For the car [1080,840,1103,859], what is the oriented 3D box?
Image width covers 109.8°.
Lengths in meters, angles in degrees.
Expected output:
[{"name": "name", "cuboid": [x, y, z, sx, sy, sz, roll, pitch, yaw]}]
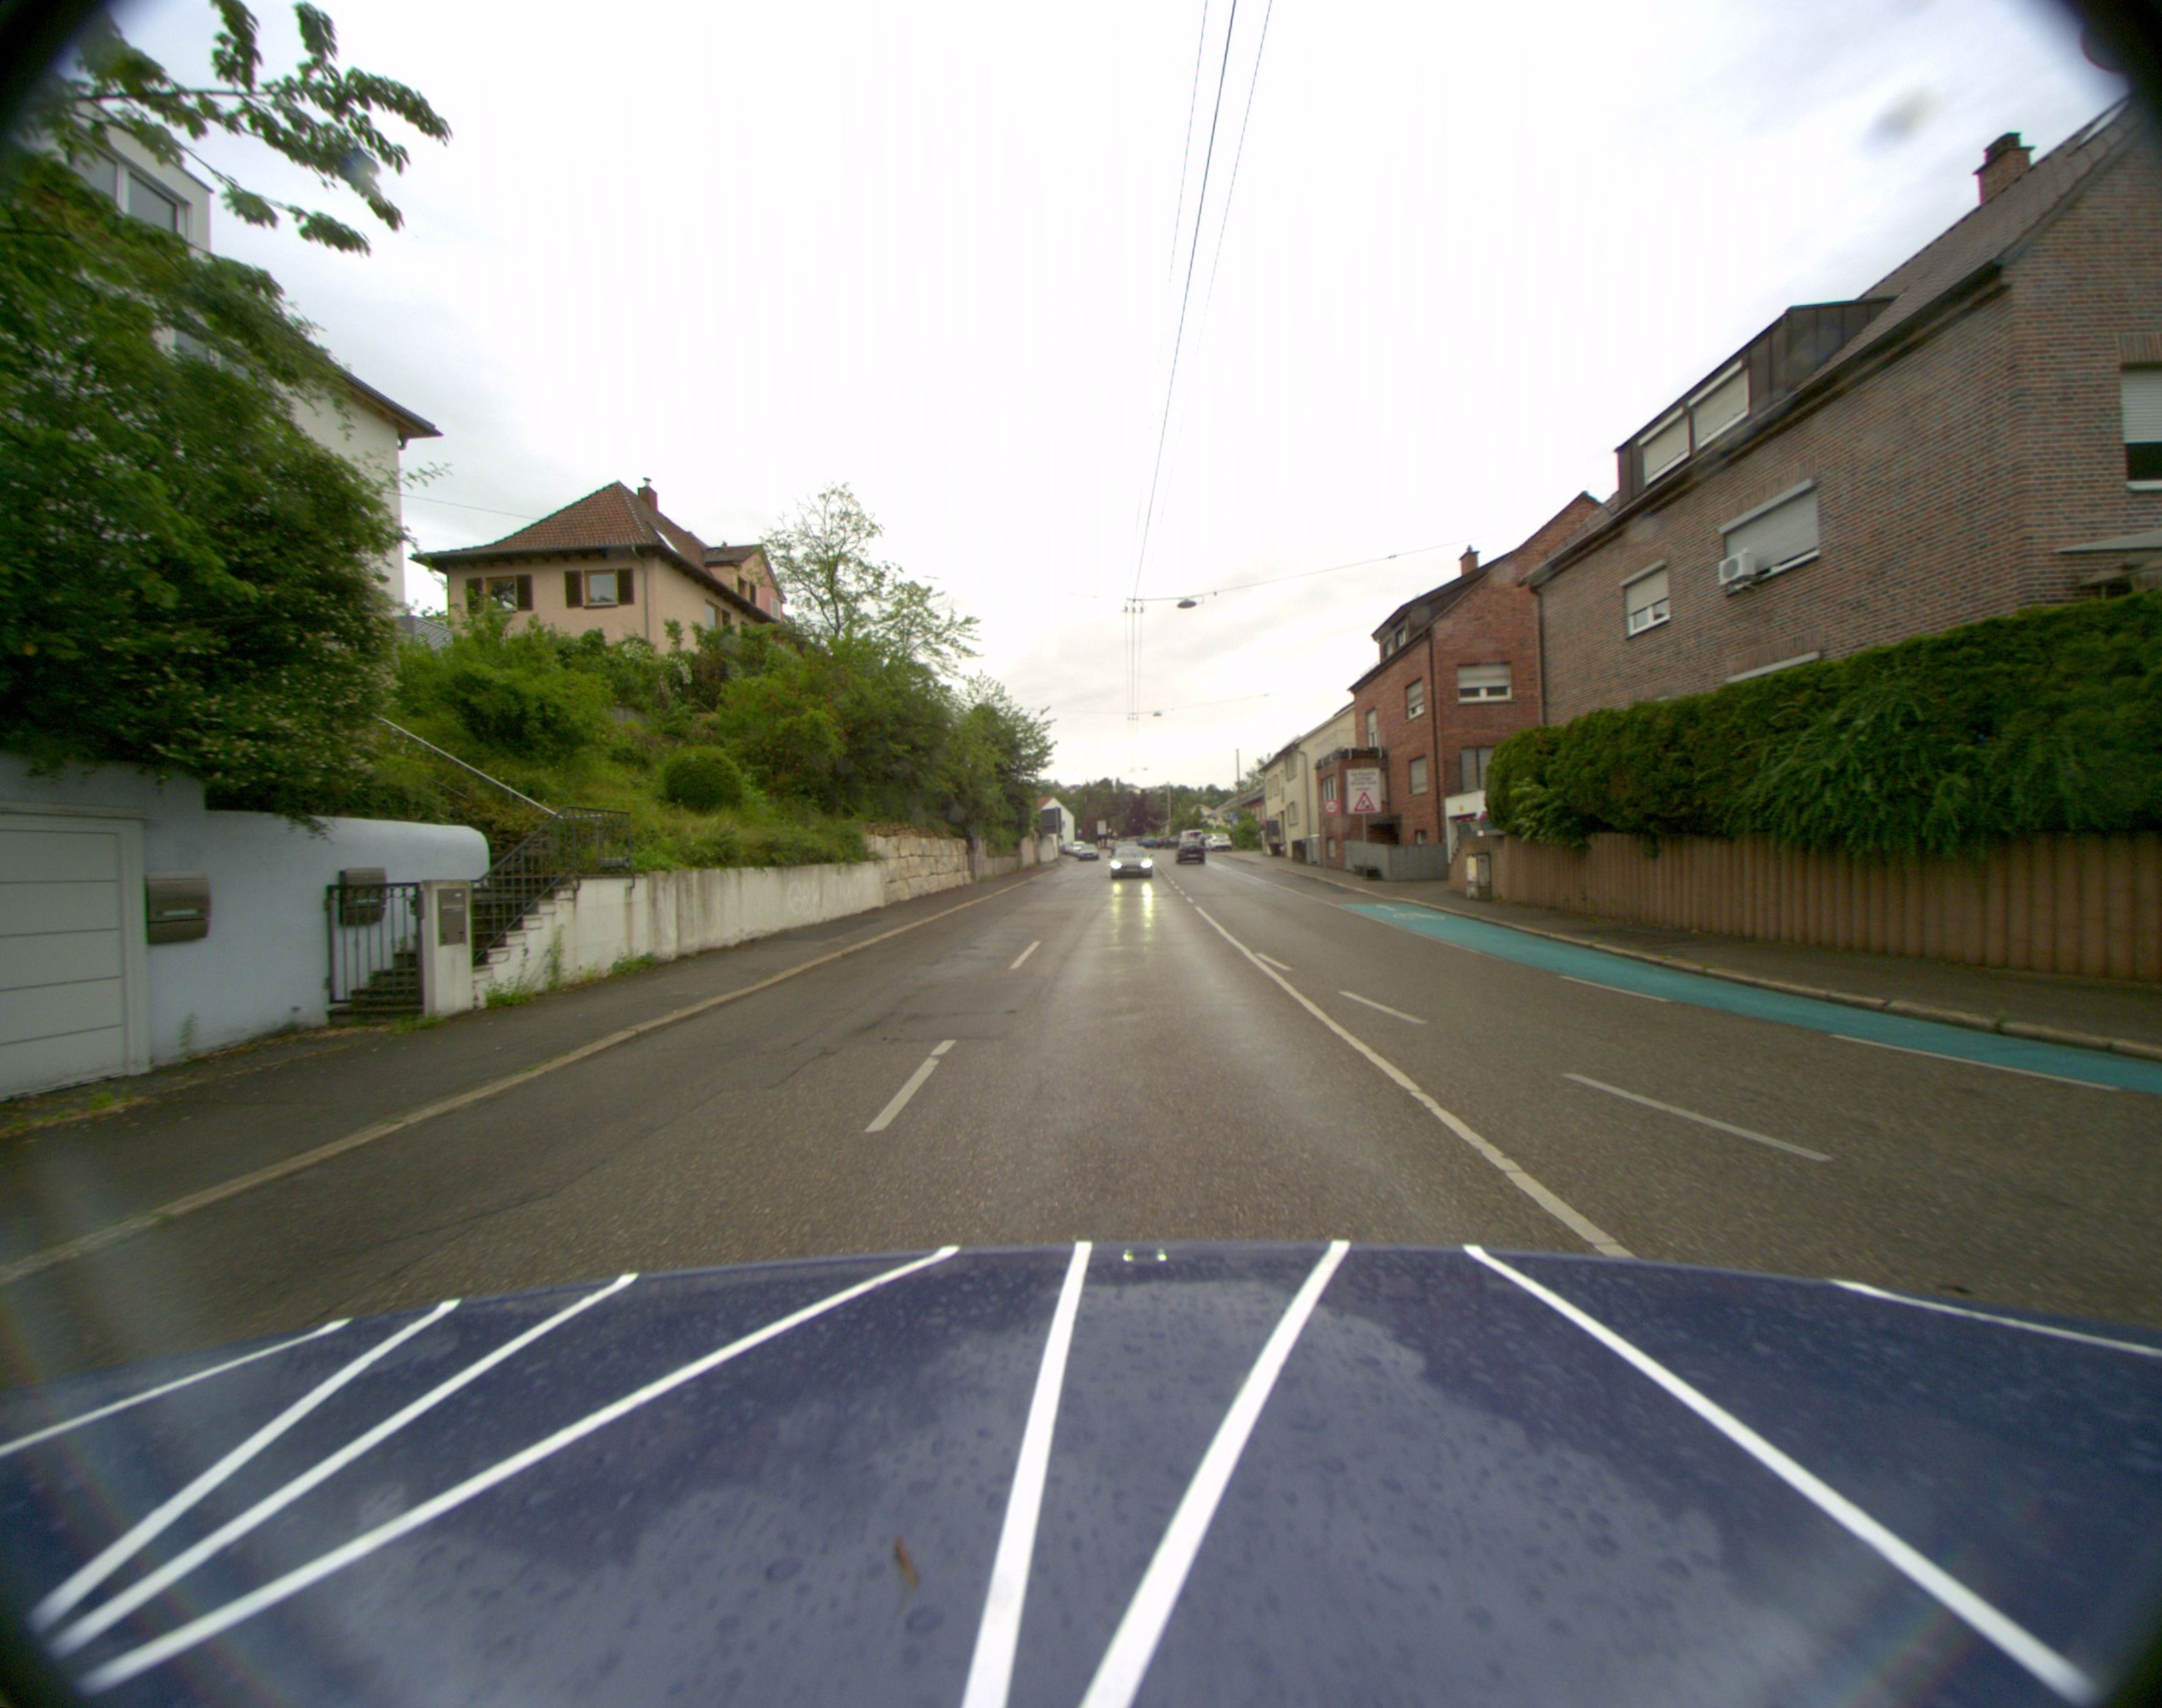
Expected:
[{"name": "car", "cuboid": [1.018, -0.411, 70.701, 2.002, 1.596, 4.359, -1, -1, 2]}]

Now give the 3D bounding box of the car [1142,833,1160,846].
[{"name": "car", "cuboid": [9.227, -1.902, 100.449, 1.624, 1.482, 3.900, -3, 1, -6]}]

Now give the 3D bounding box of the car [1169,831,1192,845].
[{"name": "car", "cuboid": [11.705, -1.892, 89.435, 1.654, 1.482, 4.008, -3, 1, -8]}]

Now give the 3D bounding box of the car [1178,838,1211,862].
[{"name": "car", "cuboid": [7.359, -0.291, 49.398, 1.919, 1.438, 3.719, -1, 1, 6]}]

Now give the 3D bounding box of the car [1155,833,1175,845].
[{"name": "car", "cuboid": [10.517, -1.877, 95.262, 1.654, 1.388, 3.858, -3, 1, -6]}]

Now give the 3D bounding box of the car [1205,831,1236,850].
[{"name": "car", "cuboid": [12.773, -1.212, 69.924, 1.946, 1.557, 4.262, -3, 1, 0]}]

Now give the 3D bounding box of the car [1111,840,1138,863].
[{"name": "car", "cuboid": [3.090, -0.222, 54.313, 1.789, 1.580, 3.783, -1, 1, 2]}]

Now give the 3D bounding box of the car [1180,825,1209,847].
[{"name": "car", "cuboid": [12.523, -1.955, 84.102, 2.258, 2.273, 4.545, -3, 1, -2]}]

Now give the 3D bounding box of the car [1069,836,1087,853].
[{"name": "car", "cuboid": [-0.360, -1.102, 86.515, 1.820, 1.855, 4.037, -1, 2, -3]}]

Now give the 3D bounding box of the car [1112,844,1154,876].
[{"name": "car", "cuboid": [2.426, 0.236, 36.174, 1.870, 1.407, 4.000, -1, 1, 2]}]

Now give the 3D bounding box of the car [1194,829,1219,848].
[{"name": "car", "cuboid": [12.849, -1.540, 78.080, 1.815, 1.793, 4.262, -3, 1, 0]}]
